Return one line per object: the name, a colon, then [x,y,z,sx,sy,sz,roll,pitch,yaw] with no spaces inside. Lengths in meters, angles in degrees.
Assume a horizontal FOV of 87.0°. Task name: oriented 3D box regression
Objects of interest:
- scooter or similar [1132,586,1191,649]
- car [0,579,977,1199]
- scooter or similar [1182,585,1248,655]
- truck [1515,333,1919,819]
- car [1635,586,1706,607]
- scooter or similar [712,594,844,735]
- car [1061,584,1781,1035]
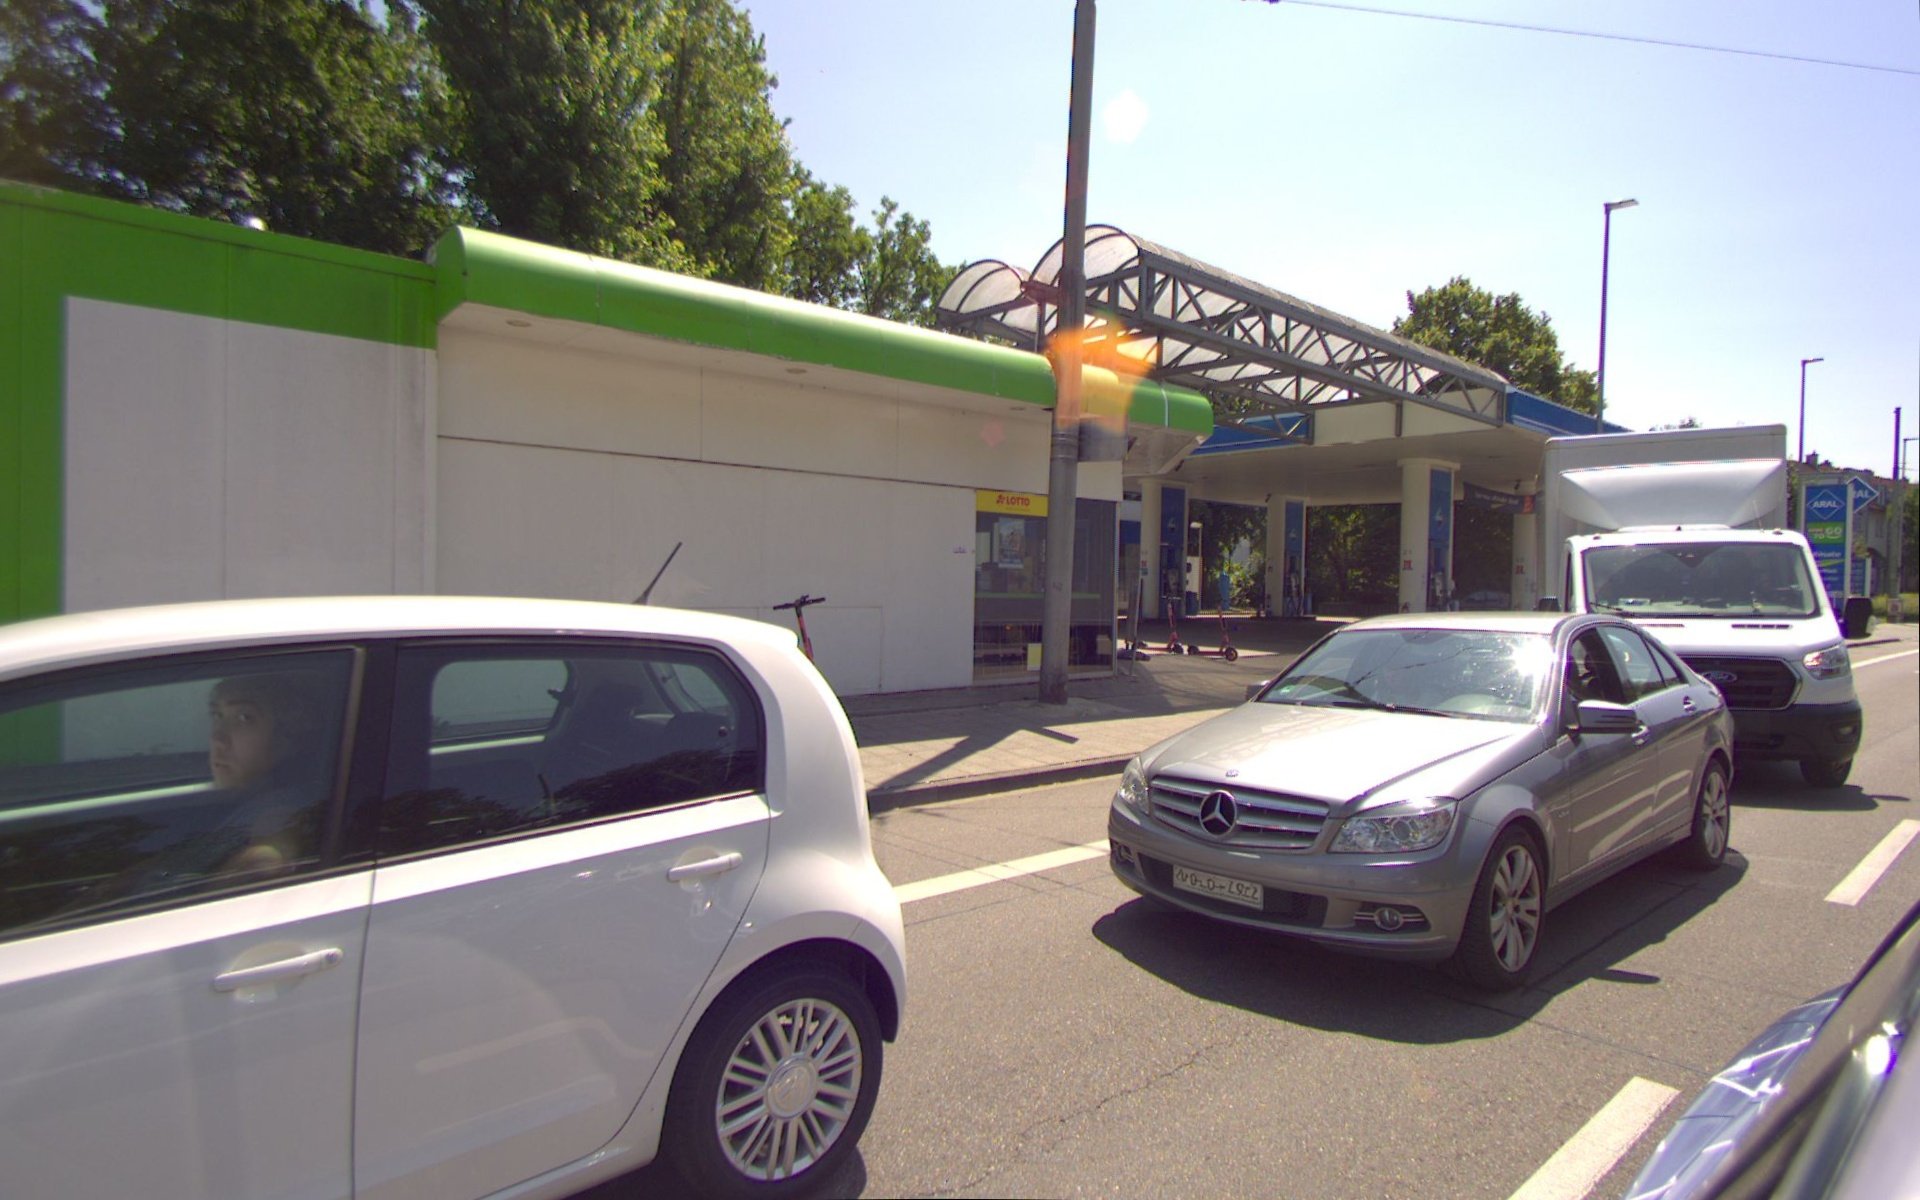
scooter or similar: [3.954,0.320,19.918,0.377,1.191,1.138,0,1,-39]
car: [-1.797,0.699,2.293,3.458,1.469,1.610,0,1,-40]
scooter or similar: [4.774,0.362,18.976,0.404,1.256,1.176,0,1,-39]
truck: [7.661,-0.243,11.062,2.404,3.434,7.761,1,1,26]
car: [57.119,-0.298,81.446,1.961,1.540,4.230,0,1,-32]
scooter or similar: [-1.676,0.567,9.369,1.117,1.209,0.384,0,4,-36]
car: [2.716,0.676,5.427,4.339,1.467,1.800,0,1,-40]
